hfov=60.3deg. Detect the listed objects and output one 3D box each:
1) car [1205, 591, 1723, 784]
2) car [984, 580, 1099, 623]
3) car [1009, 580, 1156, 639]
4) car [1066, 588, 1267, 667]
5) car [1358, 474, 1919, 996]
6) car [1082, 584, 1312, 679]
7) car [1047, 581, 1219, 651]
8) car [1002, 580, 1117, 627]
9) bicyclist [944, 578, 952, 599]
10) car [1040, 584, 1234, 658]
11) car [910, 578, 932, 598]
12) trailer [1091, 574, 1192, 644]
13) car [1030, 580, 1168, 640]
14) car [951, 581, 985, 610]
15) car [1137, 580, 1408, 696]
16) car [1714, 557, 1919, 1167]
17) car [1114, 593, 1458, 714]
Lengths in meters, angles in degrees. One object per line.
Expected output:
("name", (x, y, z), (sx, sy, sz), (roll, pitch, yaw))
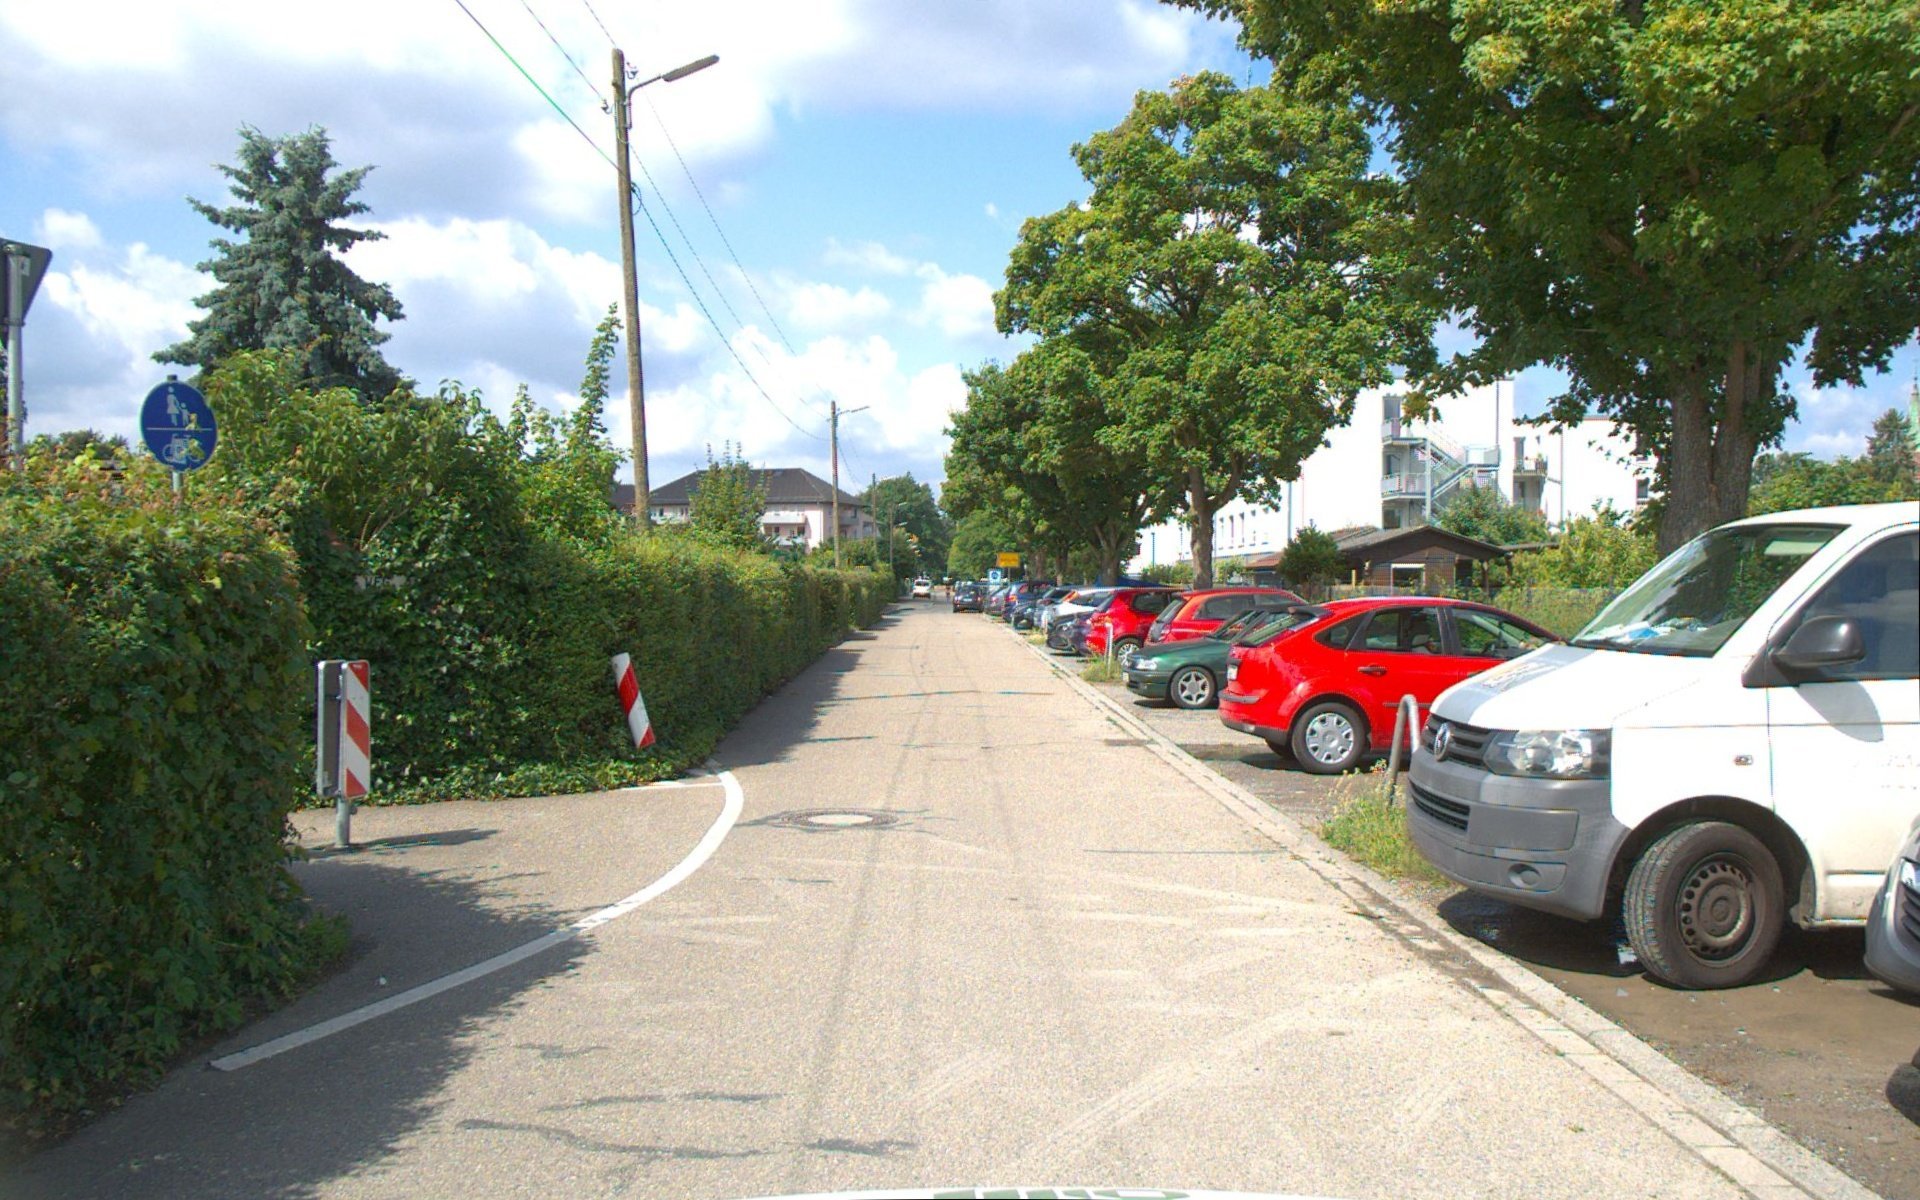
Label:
("car", (4.410, 0.743, 14.959), (4.097, 1.530, 1.878), (1, 0, 0))
("car", (3.267, 0.058, 66.882), (4.457, 1.606, 1.808), (1, 0, -2))
("car", (3.637, 0.275, 49.646), (4.215, 1.621, 1.999), (1, 0, -2))
("car", (4.087, 0.534, 33.216), (3.829, 1.448, 1.958), (1, 0, 2))
("car", (4.308, 0.462, 7.307), (4.541, 1.919, 2.110), (-1, 1, -3))
("car", (4.193, 0.540, 29.703), (3.904, 1.546, 1.855), (1, 0, 2))
("car", (4.139, 0.369, 39.990), (3.980, 1.538, 1.958), (1, 0, 2))
("car", (3.597, 0.122, 60.292), (4.070, 1.666, 1.878), (0, 0, -1))
("bicyclist", (-1.131, -1.075, 152.851), (0.645, 1.884, 1.043), (-1, 0, 1))
("car", (3.840, 0.449, 36.379), (3.984, 1.481, 1.869), (1, 0, -3))
("car", (-3.769, -1.160, 160.009), (1.863, 1.846, 4.001), (1, 0, 2))
("trailer", (4.827, 0.231, 44.197), (2.402, 1.750, 1.517), (1, 1, -5))
("car", (3.924, 0.280, 47.068), (3.650, 1.567, 1.848), (1, 0, -4))
("car", (0.458, -0.222, 91.536), (1.628, 1.532, 4.002), (1, 0, 4))
("car", (4.632, 0.549, 24.910), (3.688, 1.601, 1.869), (1, 0, -2))
("car", (4.616, 0.660, 4.568), (4.157, 1.620, 2.000), (-1, 1, -1))
("car", (4.290, 0.692, 22.180), (4.155, 1.453, 1.906), (1, 0, -5))
